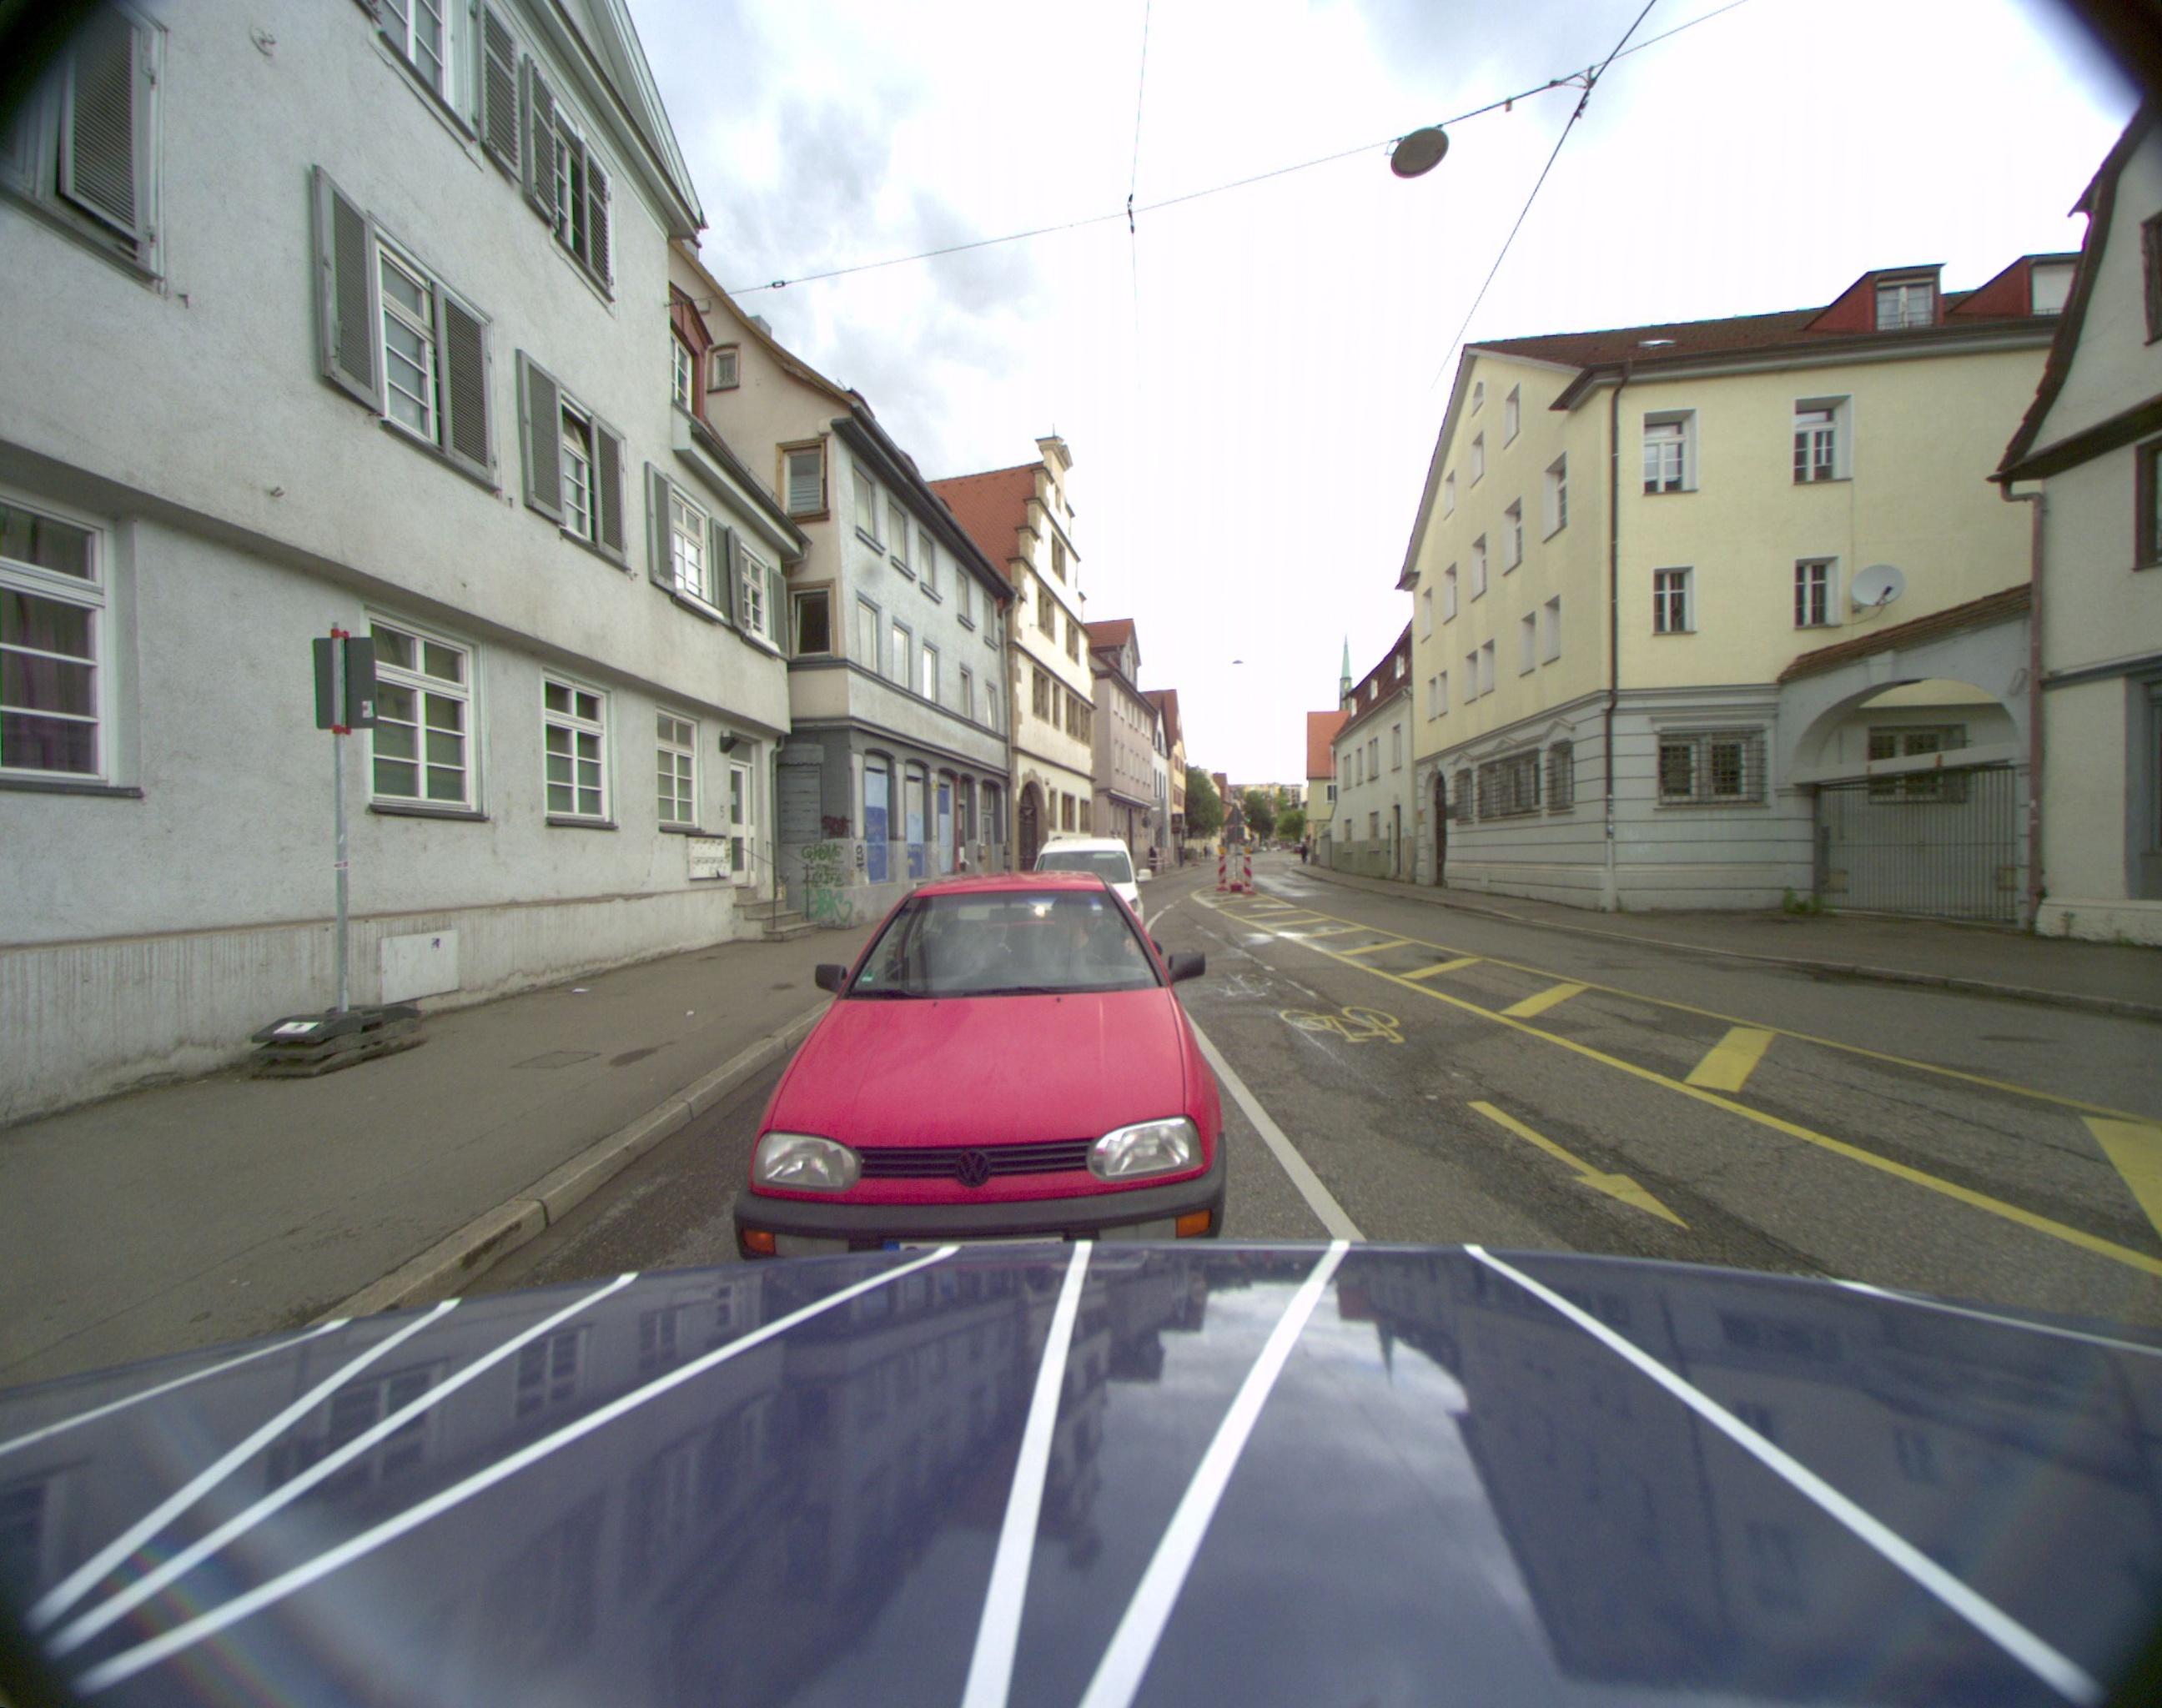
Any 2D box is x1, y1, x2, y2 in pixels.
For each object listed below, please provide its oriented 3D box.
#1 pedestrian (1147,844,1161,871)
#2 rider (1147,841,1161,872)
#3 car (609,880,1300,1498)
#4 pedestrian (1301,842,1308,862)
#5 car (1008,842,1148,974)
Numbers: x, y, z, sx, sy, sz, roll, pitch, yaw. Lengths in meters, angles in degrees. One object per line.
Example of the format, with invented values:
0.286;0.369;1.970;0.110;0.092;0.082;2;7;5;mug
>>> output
4.359;0.217;45.492;0.725;1.604;0.649;-1;0;12;pedestrian
4.384;0.161;45.563;0.719;1.837;0.798;-1;0;16;rider
-0.335;0.970;4.035;1.792;1.417;3.999;-2;1;0;car
19.949;-0.175;67.786;0.592;1.769;0.505;-1;0;16;pedestrian
0.071;0.689;12.154;1.814;1.695;4.257;-2;1;3;car
